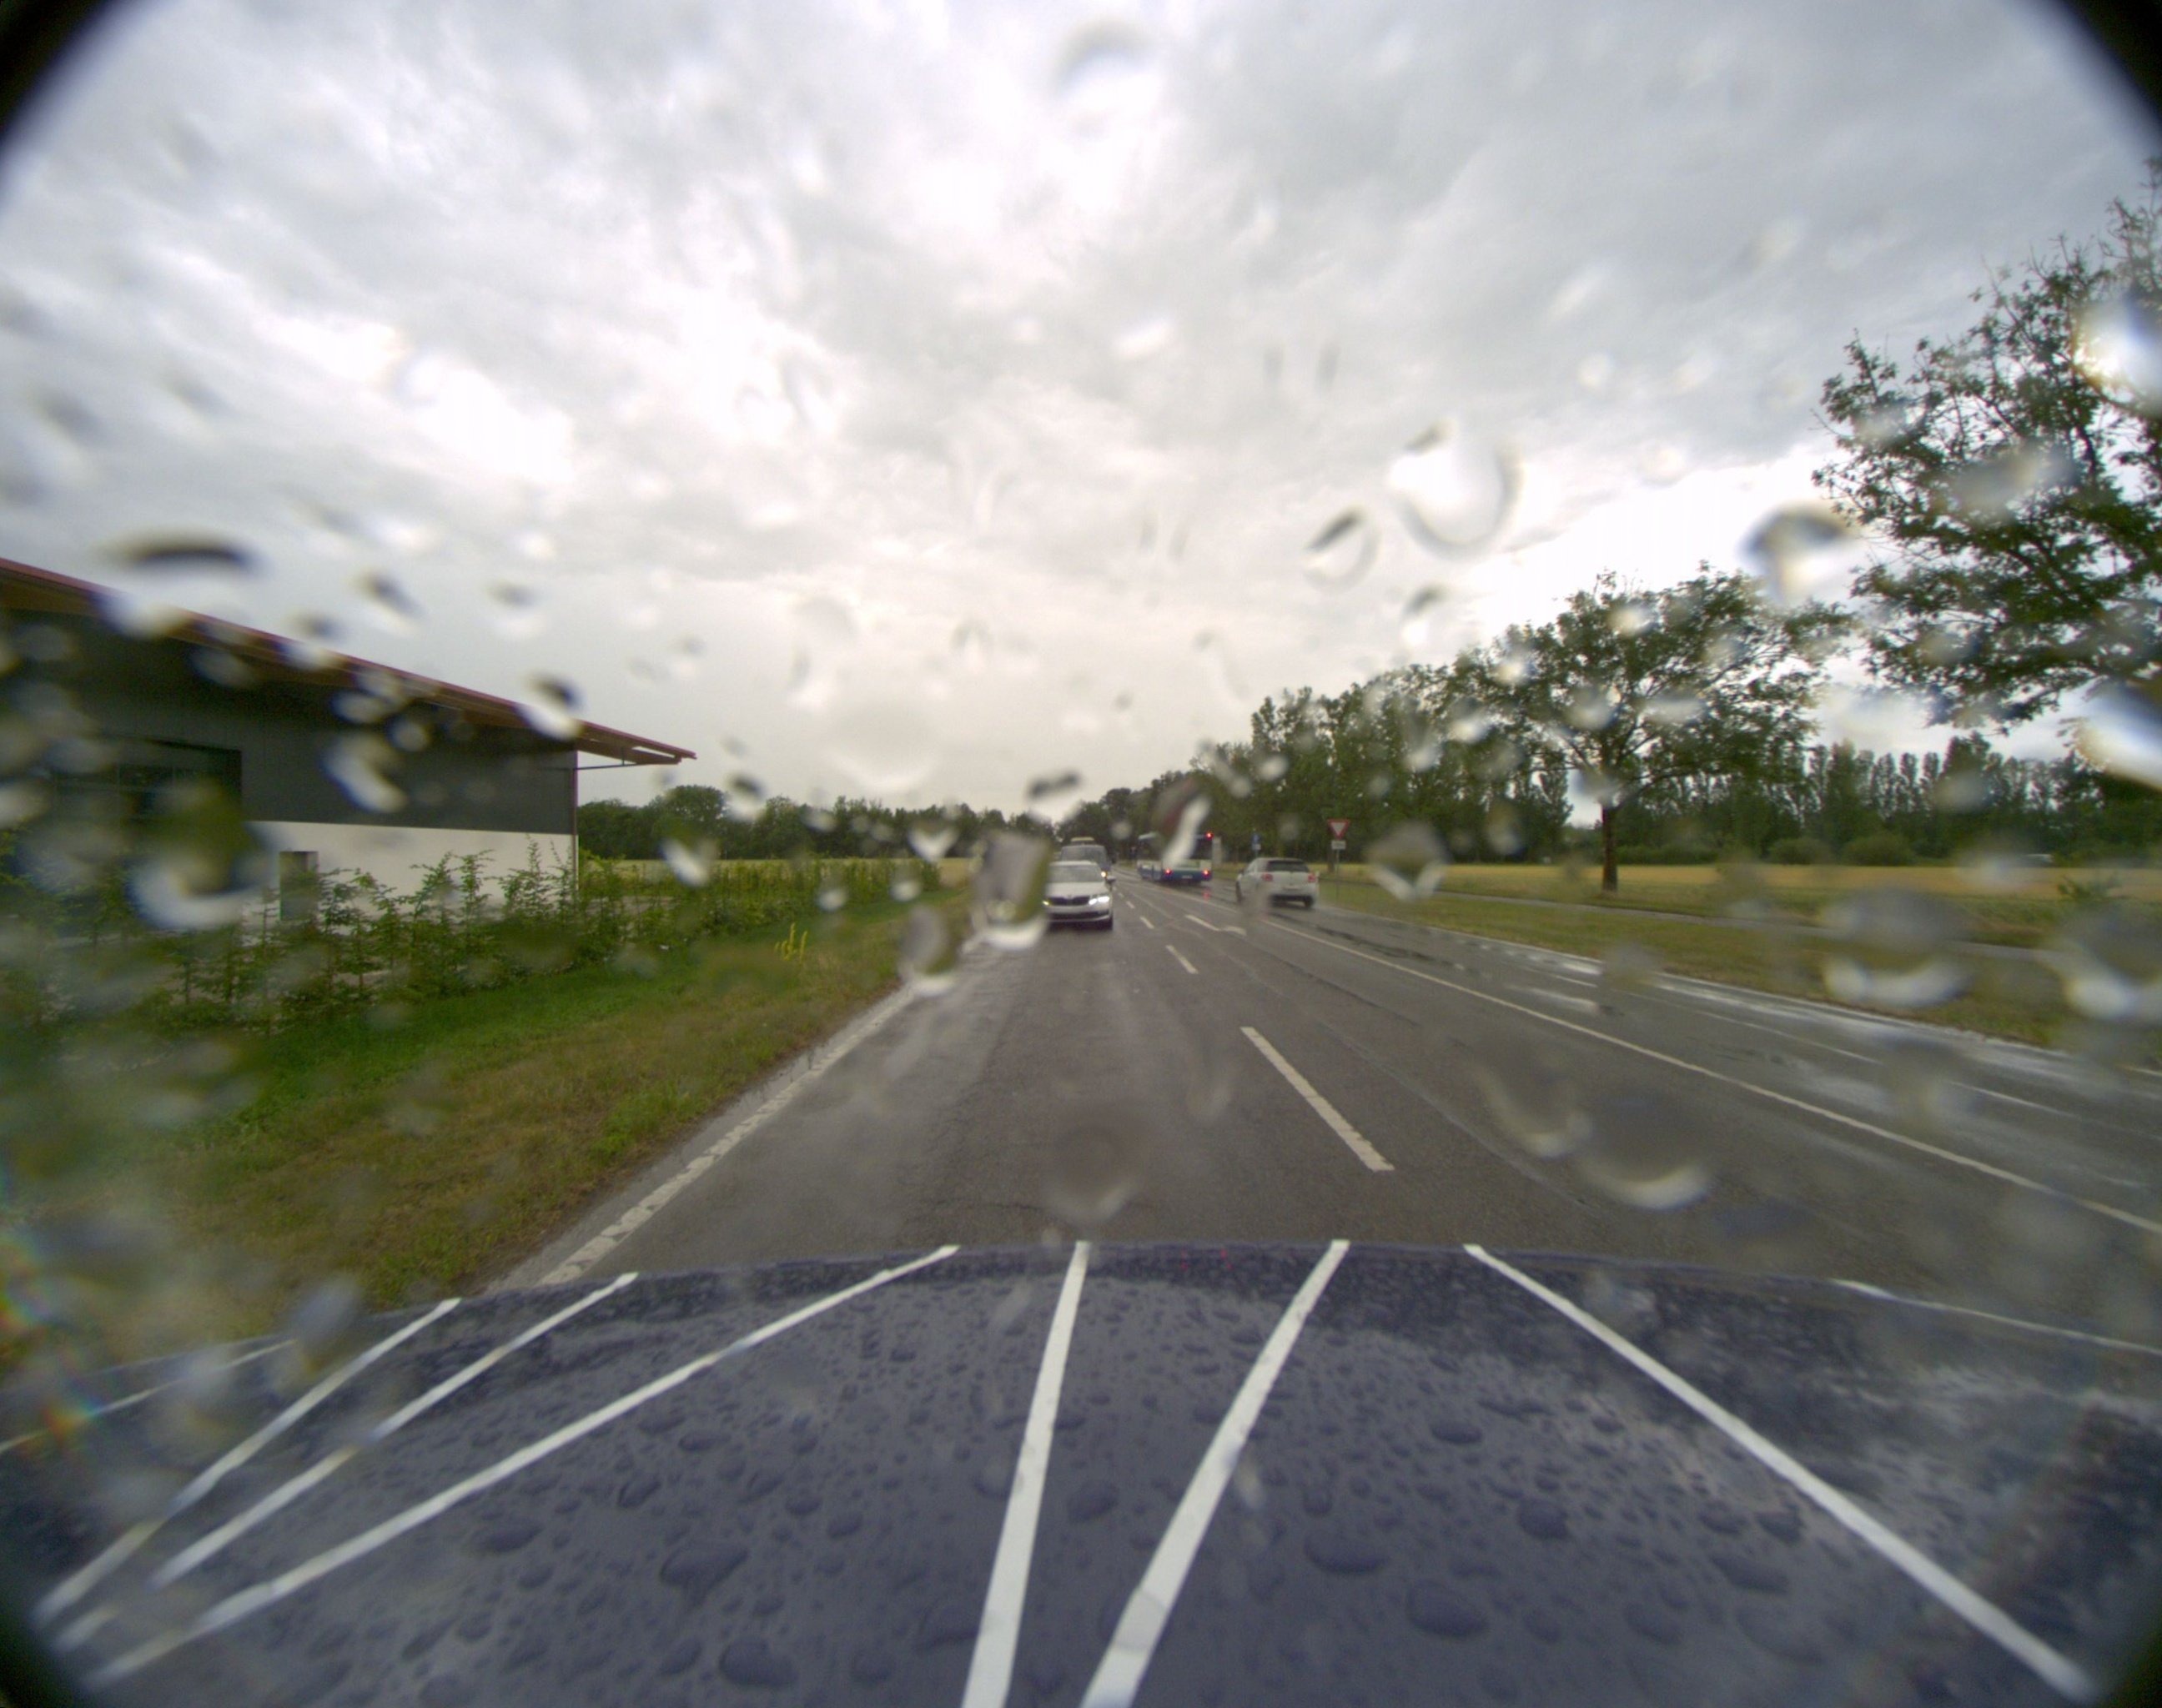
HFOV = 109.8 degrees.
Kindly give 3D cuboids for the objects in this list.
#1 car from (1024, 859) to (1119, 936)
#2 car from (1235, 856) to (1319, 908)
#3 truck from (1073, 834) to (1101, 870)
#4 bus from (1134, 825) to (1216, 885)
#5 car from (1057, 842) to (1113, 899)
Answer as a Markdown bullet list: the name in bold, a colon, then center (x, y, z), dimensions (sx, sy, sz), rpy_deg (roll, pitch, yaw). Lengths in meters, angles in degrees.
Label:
- **car**: center (-0.190, 0.887, 17.438), dimensions (1.843, 1.379, 4.568), rpy_deg (-2, 1, 0)
- **car**: center (5.942, 0.807, 23.461), dimensions (1.672, 1.442, 3.461), rpy_deg (2, 0, 0)
- **truck**: center (0.667, -0.214, 87.557), dimensions (2.931, 3.828, 14.119), rpy_deg (0, 0, 0)
- **bus**: center (5.046, -0.012, 43.497), dimensions (2.958, 2.895, 12.472), rpy_deg (0, 1, -1)
- **car**: center (0.150, 0.546, 27.851), dimensions (1.893, 1.939, 4.000), rpy_deg (0, 0, 0)
